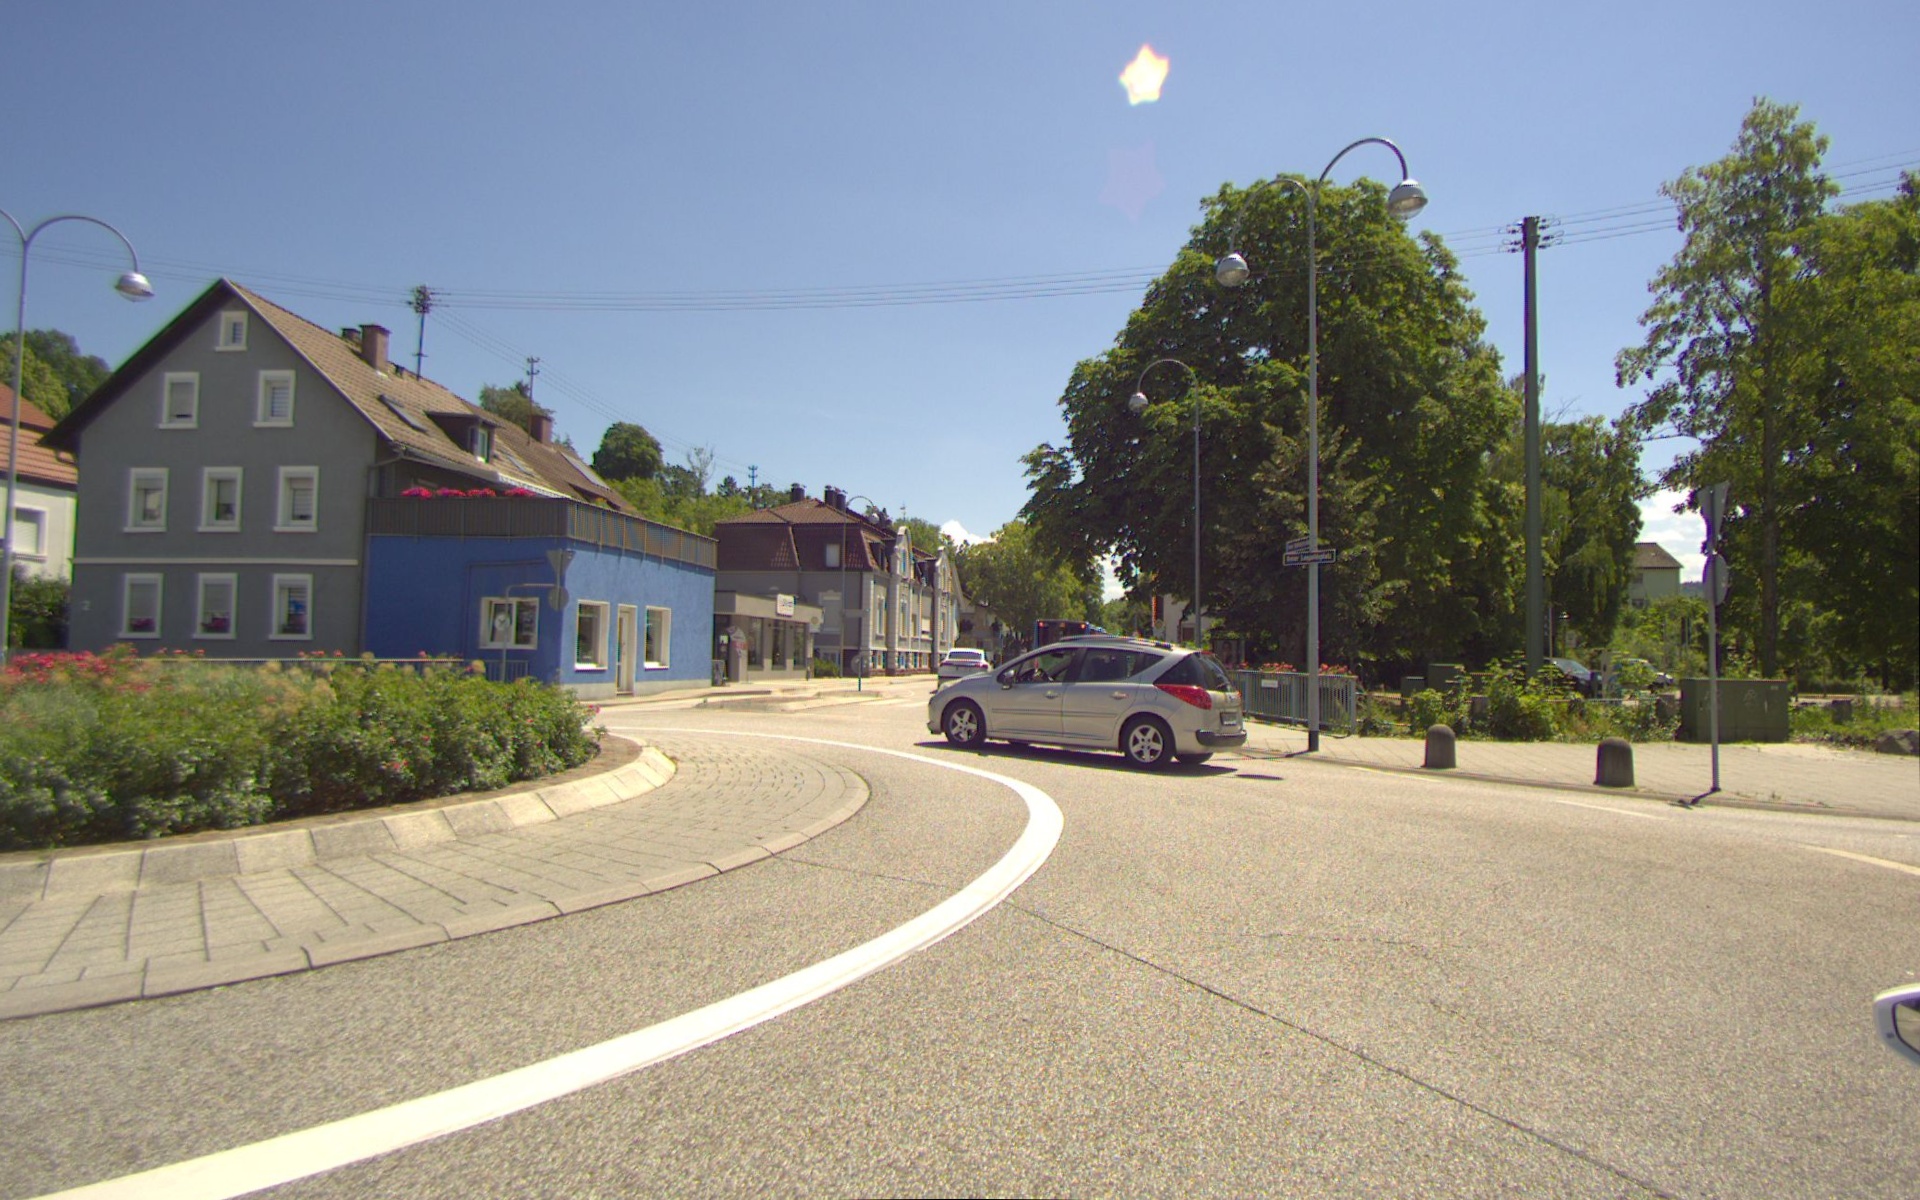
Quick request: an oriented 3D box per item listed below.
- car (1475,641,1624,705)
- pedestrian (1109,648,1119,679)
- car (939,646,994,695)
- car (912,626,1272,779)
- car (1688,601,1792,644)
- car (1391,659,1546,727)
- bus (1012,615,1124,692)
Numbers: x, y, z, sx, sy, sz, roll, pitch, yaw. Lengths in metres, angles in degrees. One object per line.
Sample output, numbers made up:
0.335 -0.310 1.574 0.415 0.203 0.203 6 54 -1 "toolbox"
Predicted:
20.111 2.445 34.424 1.975 2.040 3.972 2 -3 -28 "car"
8.323 3.438 54.335 0.494 1.672 0.580 0 -2 6 "pedestrian"
0.210 2.555 37.213 1.867 1.683 4.410 1 -3 -1 "car"
1.600 1.204 12.712 4.137 1.536 1.742 1 -4 34 "car"
38.297 1.141 49.392 3.938 2.040 1.992 -2 -3 38 "car"
12.513 2.277 24.830 2.999 1.573 1.634 0 -2 -2 "car"
6.144 2.873 52.690 3.643 3.212 18.086 2 -3 13 "bus"
